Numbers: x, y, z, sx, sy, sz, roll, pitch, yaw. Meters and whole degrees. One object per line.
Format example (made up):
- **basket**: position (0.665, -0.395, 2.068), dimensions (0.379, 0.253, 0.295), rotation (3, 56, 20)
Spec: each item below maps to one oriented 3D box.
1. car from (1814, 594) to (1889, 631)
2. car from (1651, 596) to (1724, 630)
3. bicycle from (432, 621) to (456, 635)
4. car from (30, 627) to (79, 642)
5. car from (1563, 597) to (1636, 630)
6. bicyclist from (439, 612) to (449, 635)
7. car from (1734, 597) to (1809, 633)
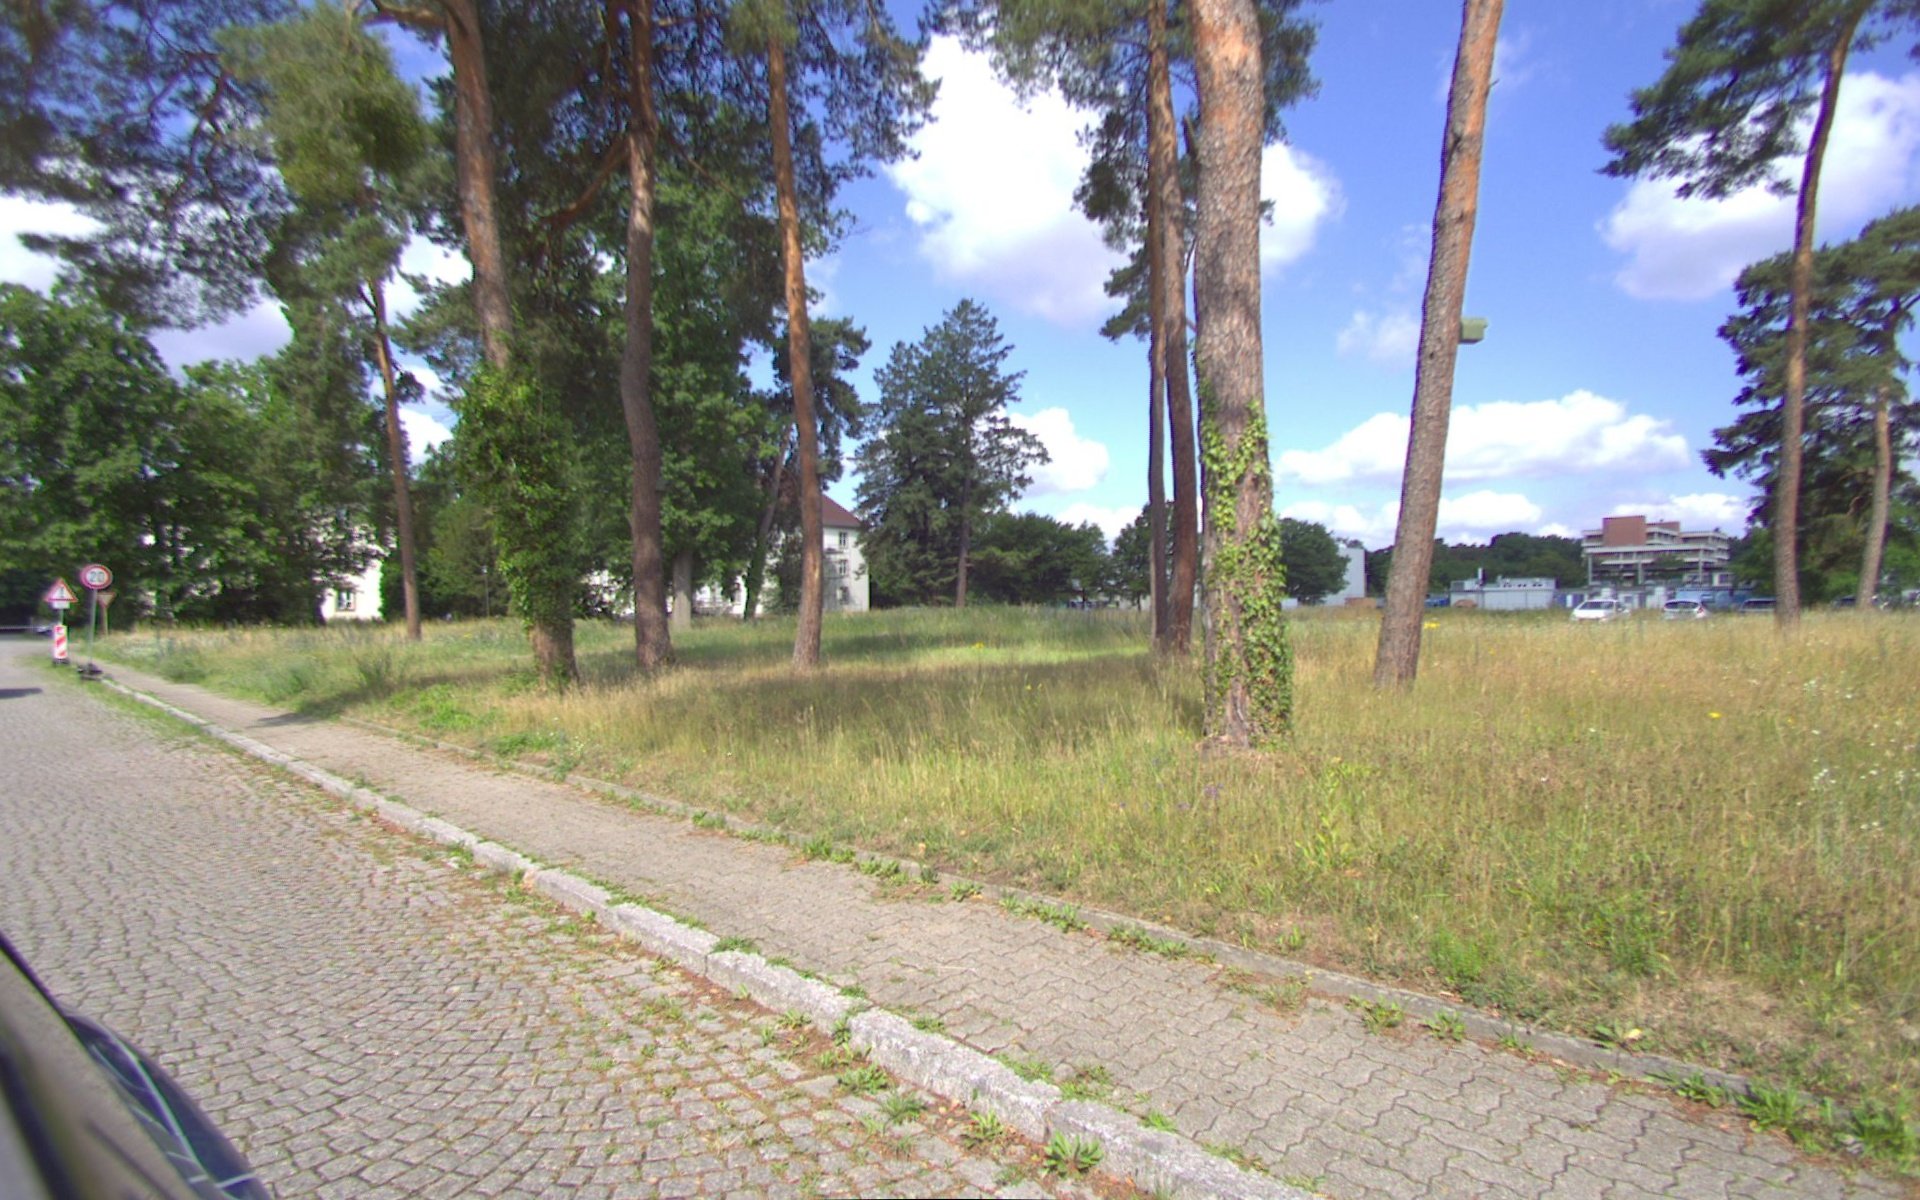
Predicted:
- **car**: position (33.527, 0.477, 38.026), dimensions (1.901, 1.319, 4.020), rotation (-1, -1, 44)
- **car**: position (30.376, 0.533, 42.233), dimensions (1.901, 1.349, 4.020), rotation (-1, -1, 44)
- **bicycle**: position (-40.239, 2.191, 78.938), dimensions (1.534, 1.004, 0.635), rotation (-1, -1, -43)
- **car**: position (-103.091, 3.948, 115.237), dimensions (1.768, 1.656, 4.027), rotation (-1, -1, 45)
- **car**: position (28.010, 0.605, 44.292), dimensions (1.901, 1.359, 4.012), rotation (-1, -1, 44)
- **bicyclist**: position (-40.252, 1.801, 78.947), dimensions (0.562, 1.783, 0.635), rotation (0, -1, -42)
- **car**: position (31.958, 0.587, 39.822), dimensions (1.901, 1.330, 4.020), rotation (-1, -1, 44)
